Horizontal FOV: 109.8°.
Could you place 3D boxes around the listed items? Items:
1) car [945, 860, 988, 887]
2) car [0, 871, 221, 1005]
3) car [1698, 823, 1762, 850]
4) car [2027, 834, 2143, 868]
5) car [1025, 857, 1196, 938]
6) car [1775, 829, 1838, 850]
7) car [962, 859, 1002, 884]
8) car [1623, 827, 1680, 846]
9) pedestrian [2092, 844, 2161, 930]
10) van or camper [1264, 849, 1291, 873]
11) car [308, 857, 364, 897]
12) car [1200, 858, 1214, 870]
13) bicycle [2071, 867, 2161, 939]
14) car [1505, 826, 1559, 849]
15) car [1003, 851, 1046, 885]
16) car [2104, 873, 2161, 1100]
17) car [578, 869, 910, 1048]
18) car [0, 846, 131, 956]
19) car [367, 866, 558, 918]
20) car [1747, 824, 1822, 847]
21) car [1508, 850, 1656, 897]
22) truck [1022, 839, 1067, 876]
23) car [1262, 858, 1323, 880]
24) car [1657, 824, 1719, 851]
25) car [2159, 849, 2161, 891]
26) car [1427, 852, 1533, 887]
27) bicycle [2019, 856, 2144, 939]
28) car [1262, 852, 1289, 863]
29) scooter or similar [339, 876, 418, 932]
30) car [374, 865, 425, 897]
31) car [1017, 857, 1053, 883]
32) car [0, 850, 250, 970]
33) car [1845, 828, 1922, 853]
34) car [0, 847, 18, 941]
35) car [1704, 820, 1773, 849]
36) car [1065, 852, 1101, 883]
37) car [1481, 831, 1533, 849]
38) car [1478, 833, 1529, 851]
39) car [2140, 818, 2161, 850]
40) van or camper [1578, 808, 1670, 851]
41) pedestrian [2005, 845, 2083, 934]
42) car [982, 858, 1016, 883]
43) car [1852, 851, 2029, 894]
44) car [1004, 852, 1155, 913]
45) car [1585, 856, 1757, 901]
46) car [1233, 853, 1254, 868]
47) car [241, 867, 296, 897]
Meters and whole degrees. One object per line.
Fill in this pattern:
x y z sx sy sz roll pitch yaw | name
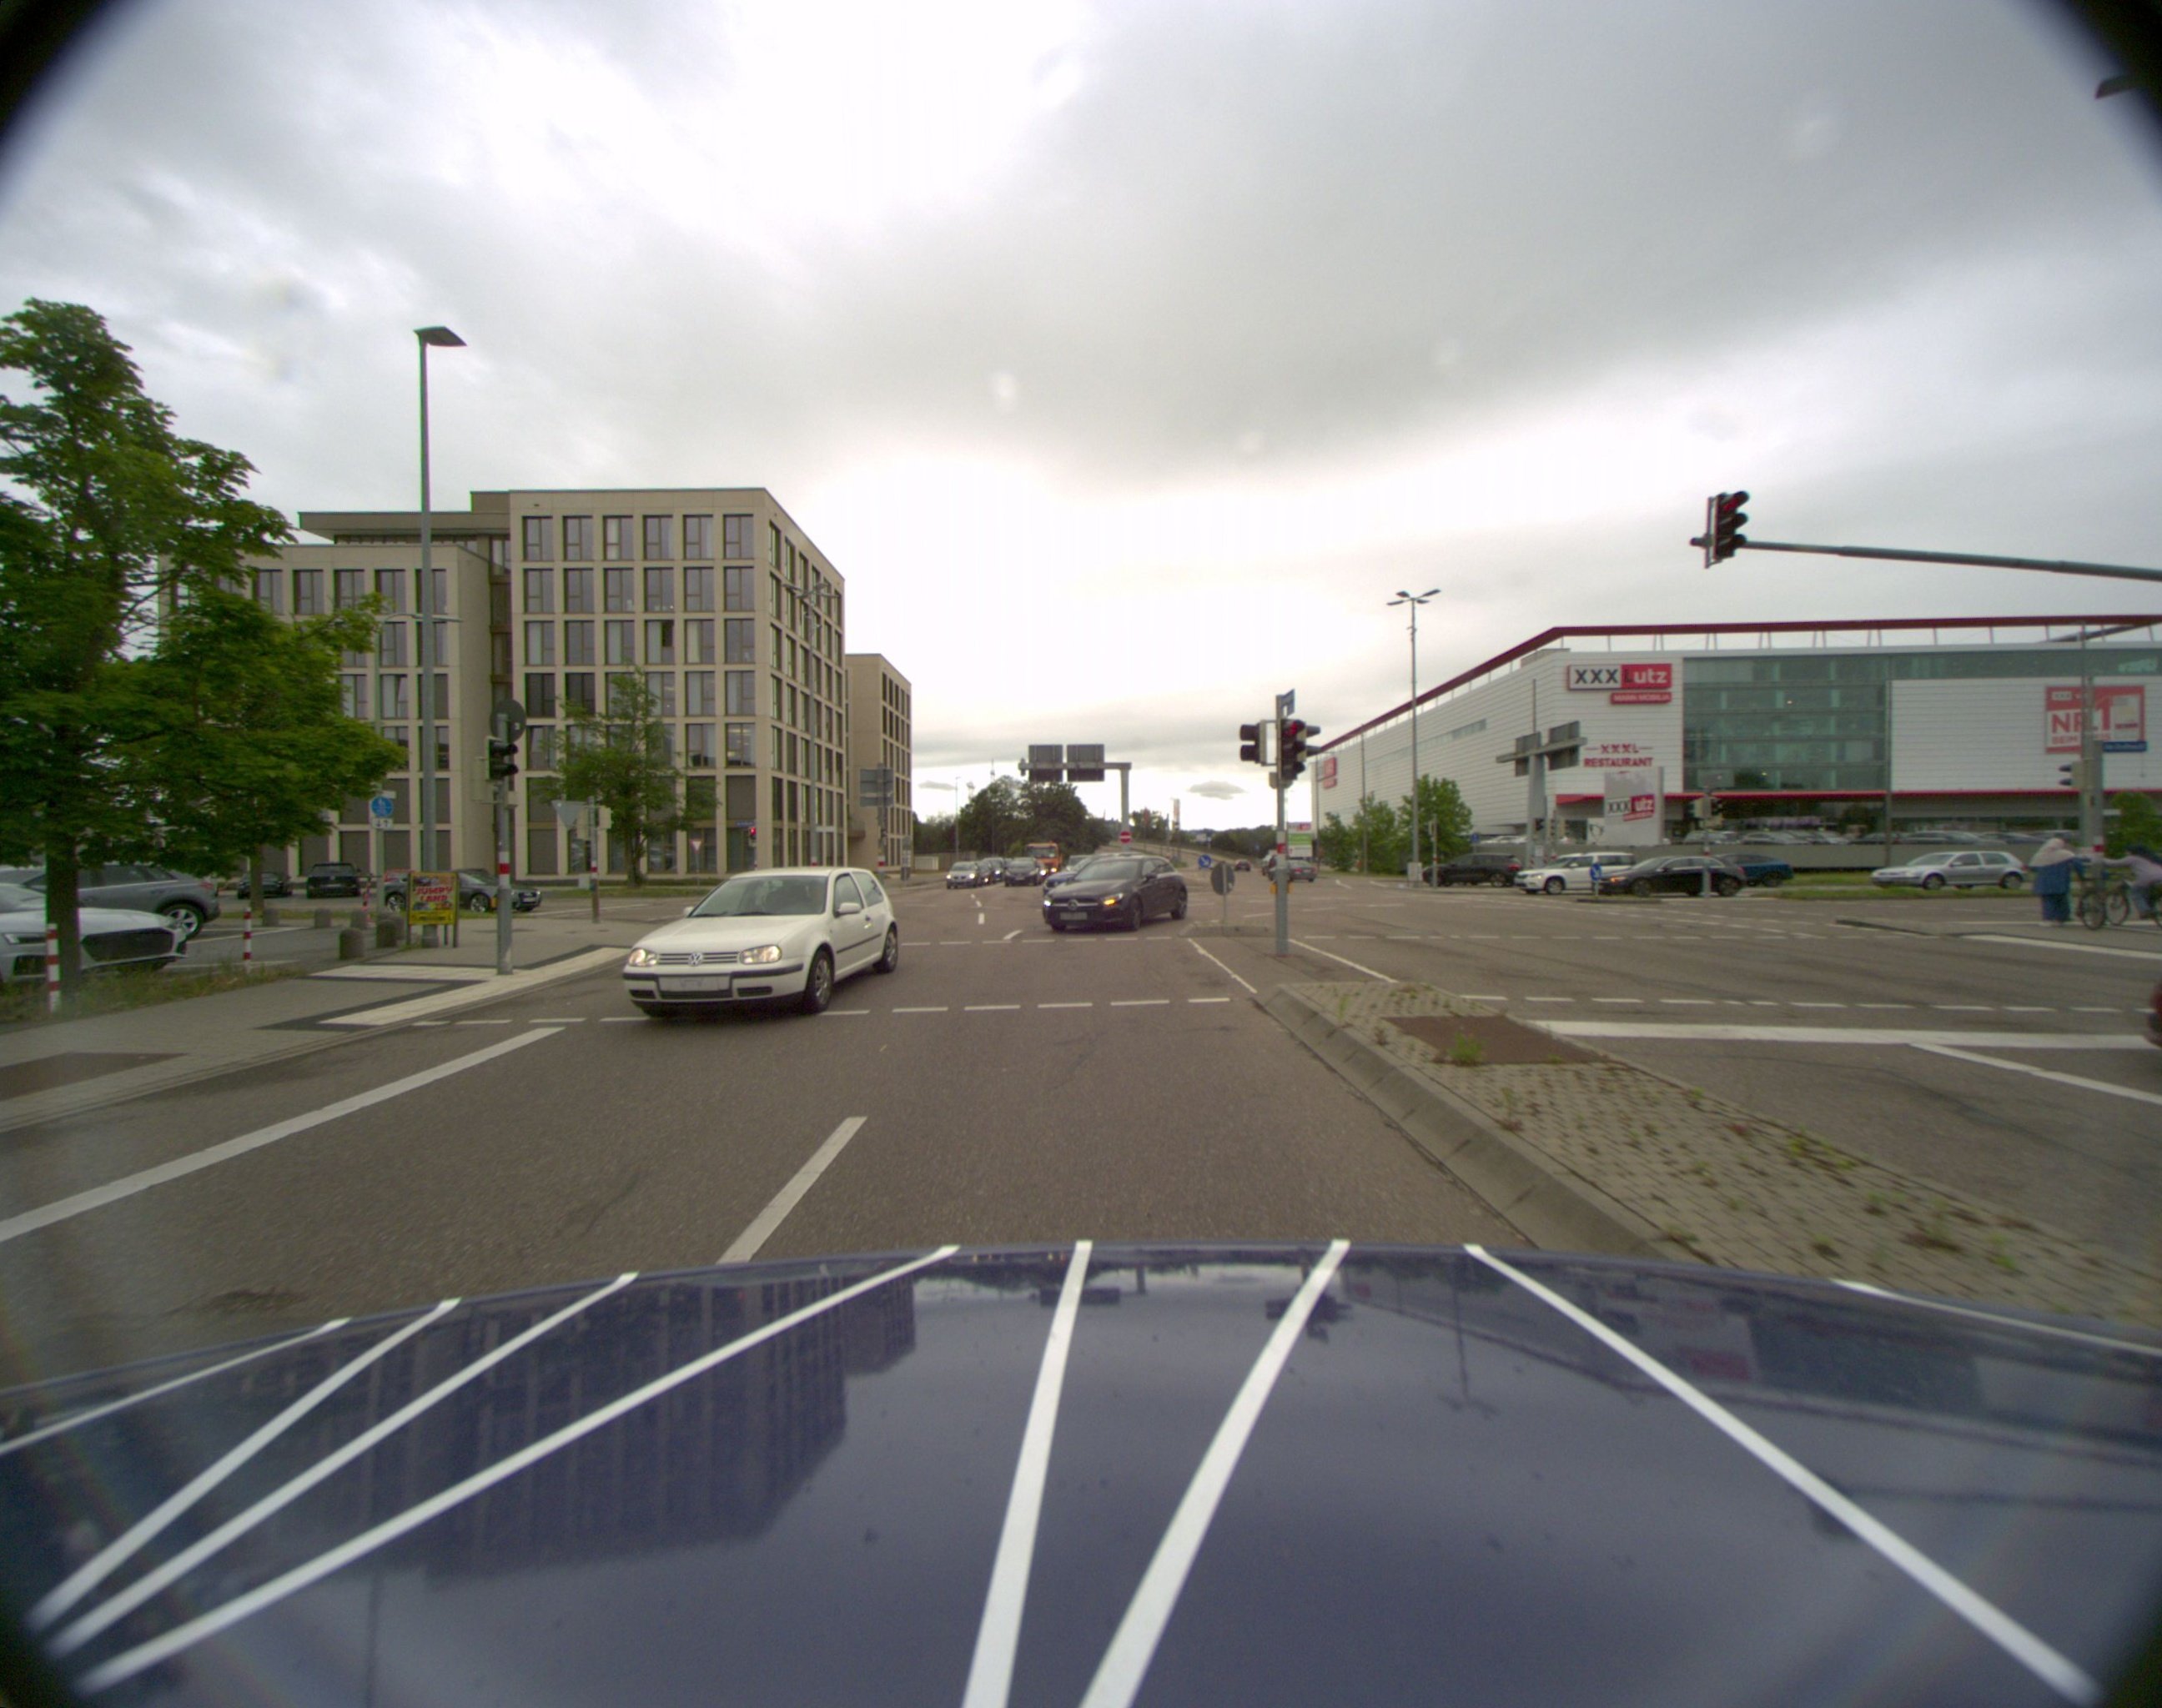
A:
-6.417 1.121 43.056 1.750 1.423 4.099 -2 -1 1 | car
-14.321 1.094 9.827 4.226 1.477 1.875 -3 1 1 | car
52.371 -1.366 61.406 1.868 1.936 3.870 -2 -1 1 | car
63.526 -0.129 48.196 1.998 2.001 4.002 -2 -1 2 | car
0.769 0.824 15.671 1.855 1.426 4.205 -1 -2 28 | car
67.940 -1.295 71.240 1.998 1.728 4.001 -2 -1 1 | car
-6.227 1.095 48.146 1.871 1.481 4.151 -2 -1 1 | car
57.545 -1.738 76.706 4.255 1.665 1.778 -2 -1 4 | car
19.561 0.607 14.131 0.652 1.540 0.651 -3 1 26 | pedestrian
17.478 0.643 67.799 2.160 2.001 4.949 1 -1 13 | van or camper
-39.679 1.213 40.529 2.004 1.954 4.233 -2 0 -44 | car
17.034 1.335 102.603 1.832 1.402 4.202 3 -1 11 | car
19.580 0.876 14.175 0.507 1.159 1.950 -3 1 26 | bicycle
44.129 -1.577 74.438 3.995 2.001 2.001 -2 -1 5 | car
-3.145 0.802 42.884 1.998 1.758 4.423 -2 -1 1 | car
7.990 0.929 3.219 1.739 1.479 4.077 1 1 -1 | car
-3.366 0.941 8.567 1.837 1.469 4.005 -2 -1 2 | car
-21.131 0.933 13.681 1.998 2.002 4.714 -2 2 0 | car
-19.677 1.185 24.291 4.608 1.542 1.986 -1 0 5 | car
52.223 -1.326 56.496 1.868 1.428 3.995 -2 -1 1 | car
19.074 0.741 29.088 4.369 1.615 1.801 -2 -1 5 | car
-2.727 0.360 58.786 2.819 2.622 6.677 -2 -1 2 | truck
14.083 1.021 50.944 1.818 1.402 4.873 0 -1 -13 | car
49.106 -1.272 61.558 1.868 1.936 3.870 -2 -1 1 | car
42.100 0.511 27.157 4.214 1.564 1.804 -2 -1 4 | car
19.768 0.811 37.749 4.362 1.614 1.804 -2 -3 42 | car
18.516 0.759 14.121 0.595 1.388 1.937 1 2 28 | bicycle
32.057 0.572 125.250 4.192 1.600 1.724 -1 -1 8 | car
-15.614 1.097 16.887 1.557 1.211 0.560 -1 -2 18 | scooter or similar
-36.449 1.414 40.733 1.892 1.542 4.122 -2 0 -40 | car
-2.971 1.073 49.897 1.998 1.591 4.001 -2 -1 1 | car
-18.560 0.938 13.612 1.999 1.852 4.785 -2 2 0 | car
64.777 -1.056 61.417 1.998 1.728 4.001 -2 -1 1 | car
-24.130 0.959 13.862 2.264 2.002 5.037 -2 2 0 | car
48.877 -1.399 56.570 1.868 1.936 3.870 -2 -1 2 | car
0.087 0.798 43.420 1.904 1.633 4.069 -2 -1 -1 | car
43.277 -1.402 77.257 4.255 1.665 1.778 -2 -1 4 | car
44.535 -1.288 80.137 4.255 1.665 1.778 -2 -1 4 | car
68.421 -1.313 46.374 1.998 2.001 4.002 -2 -1 2 | car
44.580 -1.907 62.667 2.712 3.116 7.240 -2 -1 4 | van or camper
18.114 0.649 14.314 0.639 1.617 0.693 1 3 27 | pedestrian
-6.103 1.252 56.821 1.998 1.758 4.151 -2 -1 1 | car
31.437 0.687 27.894 4.214 1.407 1.804 -2 -1 4 | car
0.043 0.791 22.240 4.341 1.612 1.843 0 -2 -45 | car
19.911 0.827 25.826 4.252 1.370 1.770 -2 -1 10 | car
19.841 0.789 92.929 1.858 1.652 4.002 -2 -1 4 | car
-43.098 1.464 40.366 1.701 1.502 3.807 -2 0 -43 | car
